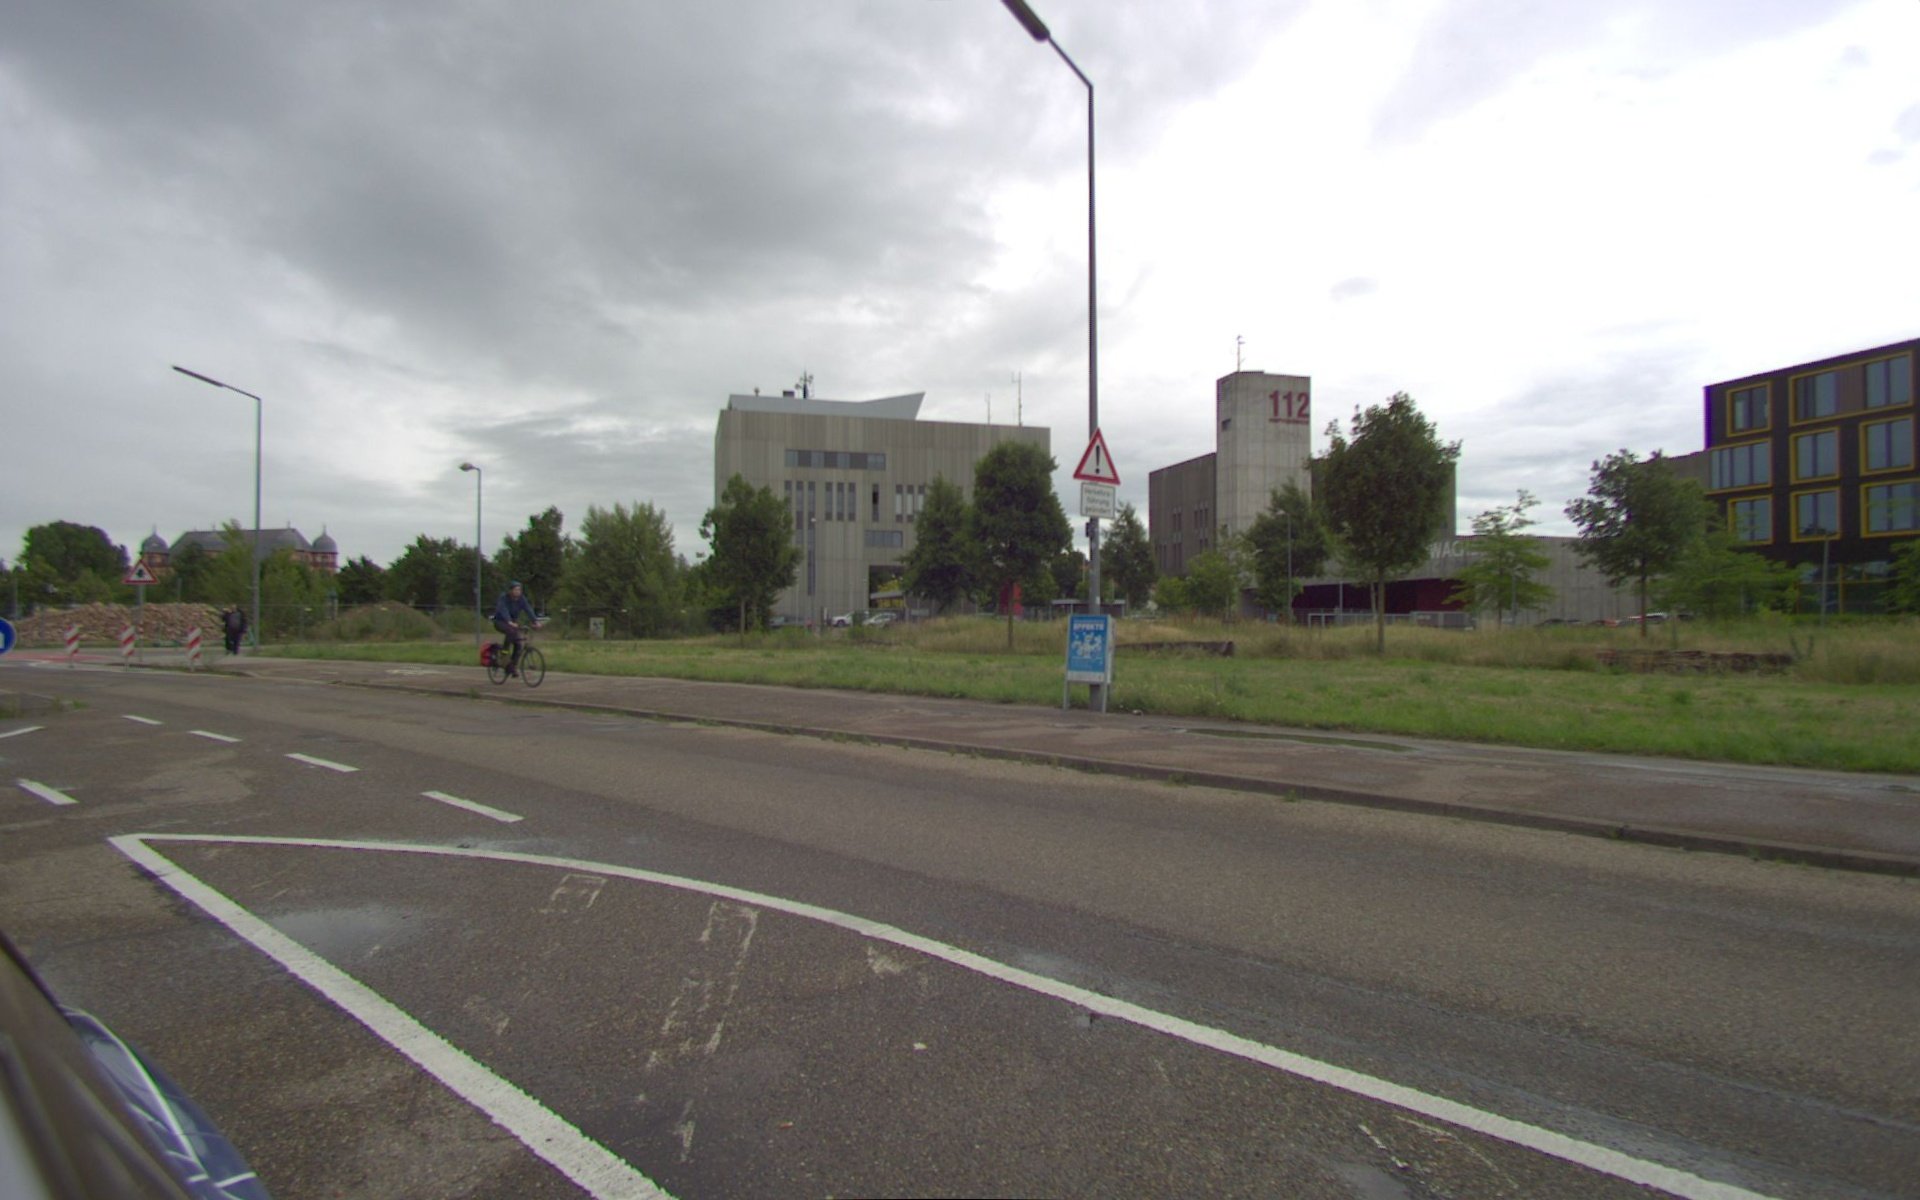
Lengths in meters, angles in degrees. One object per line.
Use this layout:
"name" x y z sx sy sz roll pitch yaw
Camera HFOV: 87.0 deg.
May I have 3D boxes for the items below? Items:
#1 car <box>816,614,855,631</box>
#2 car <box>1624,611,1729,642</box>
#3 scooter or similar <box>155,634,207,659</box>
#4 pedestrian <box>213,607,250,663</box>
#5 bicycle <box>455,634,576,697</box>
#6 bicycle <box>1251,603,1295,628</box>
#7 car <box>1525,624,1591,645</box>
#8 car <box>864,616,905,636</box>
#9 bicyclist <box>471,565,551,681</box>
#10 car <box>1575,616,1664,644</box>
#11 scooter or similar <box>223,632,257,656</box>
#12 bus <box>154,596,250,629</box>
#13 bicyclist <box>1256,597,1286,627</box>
"car" -12.910 2.329 104.752 3.822 1.775 1.733 0 -1 -16
"car" 37.353 1.416 52.884 1.965 1.535 4.013 1 -3 -21
"scooter or similar" -37.370 2.224 48.574 1.872 1.151 0.658 0 -1 -11
"pedestrian" -23.750 1.134 33.004 0.833 1.796 1.078 1 -3 -43
"bicycle" -8.049 1.165 18.293 2.463 1.060 0.876 -2 -3 35
"bicycle" 19.900 0.985 64.394 2.457 1.596 1.090 0 -2 -17
"car" 46.163 2.669 78.178 1.965 1.535 4.013 1 -3 -21
"car" -6.855 2.345 92.099 3.420 1.775 1.733 0 -1 -16
"bicyclist" -8.164 0.432 18.391 1.174 2.029 0.854 -2 -3 35
"car" 38.922 1.818 59.827 1.965 1.535 4.013 1 -3 -21
"scooter or similar" -35.857 2.197 50.420 1.315 1.151 0.413 0 0 -27
"bus" -98.241 1.613 131.295 9.726 4.012 2.741 -1 -2 -13
"bicyclist" 19.804 0.761 64.429 1.378 1.914 1.080 0 -2 -18
